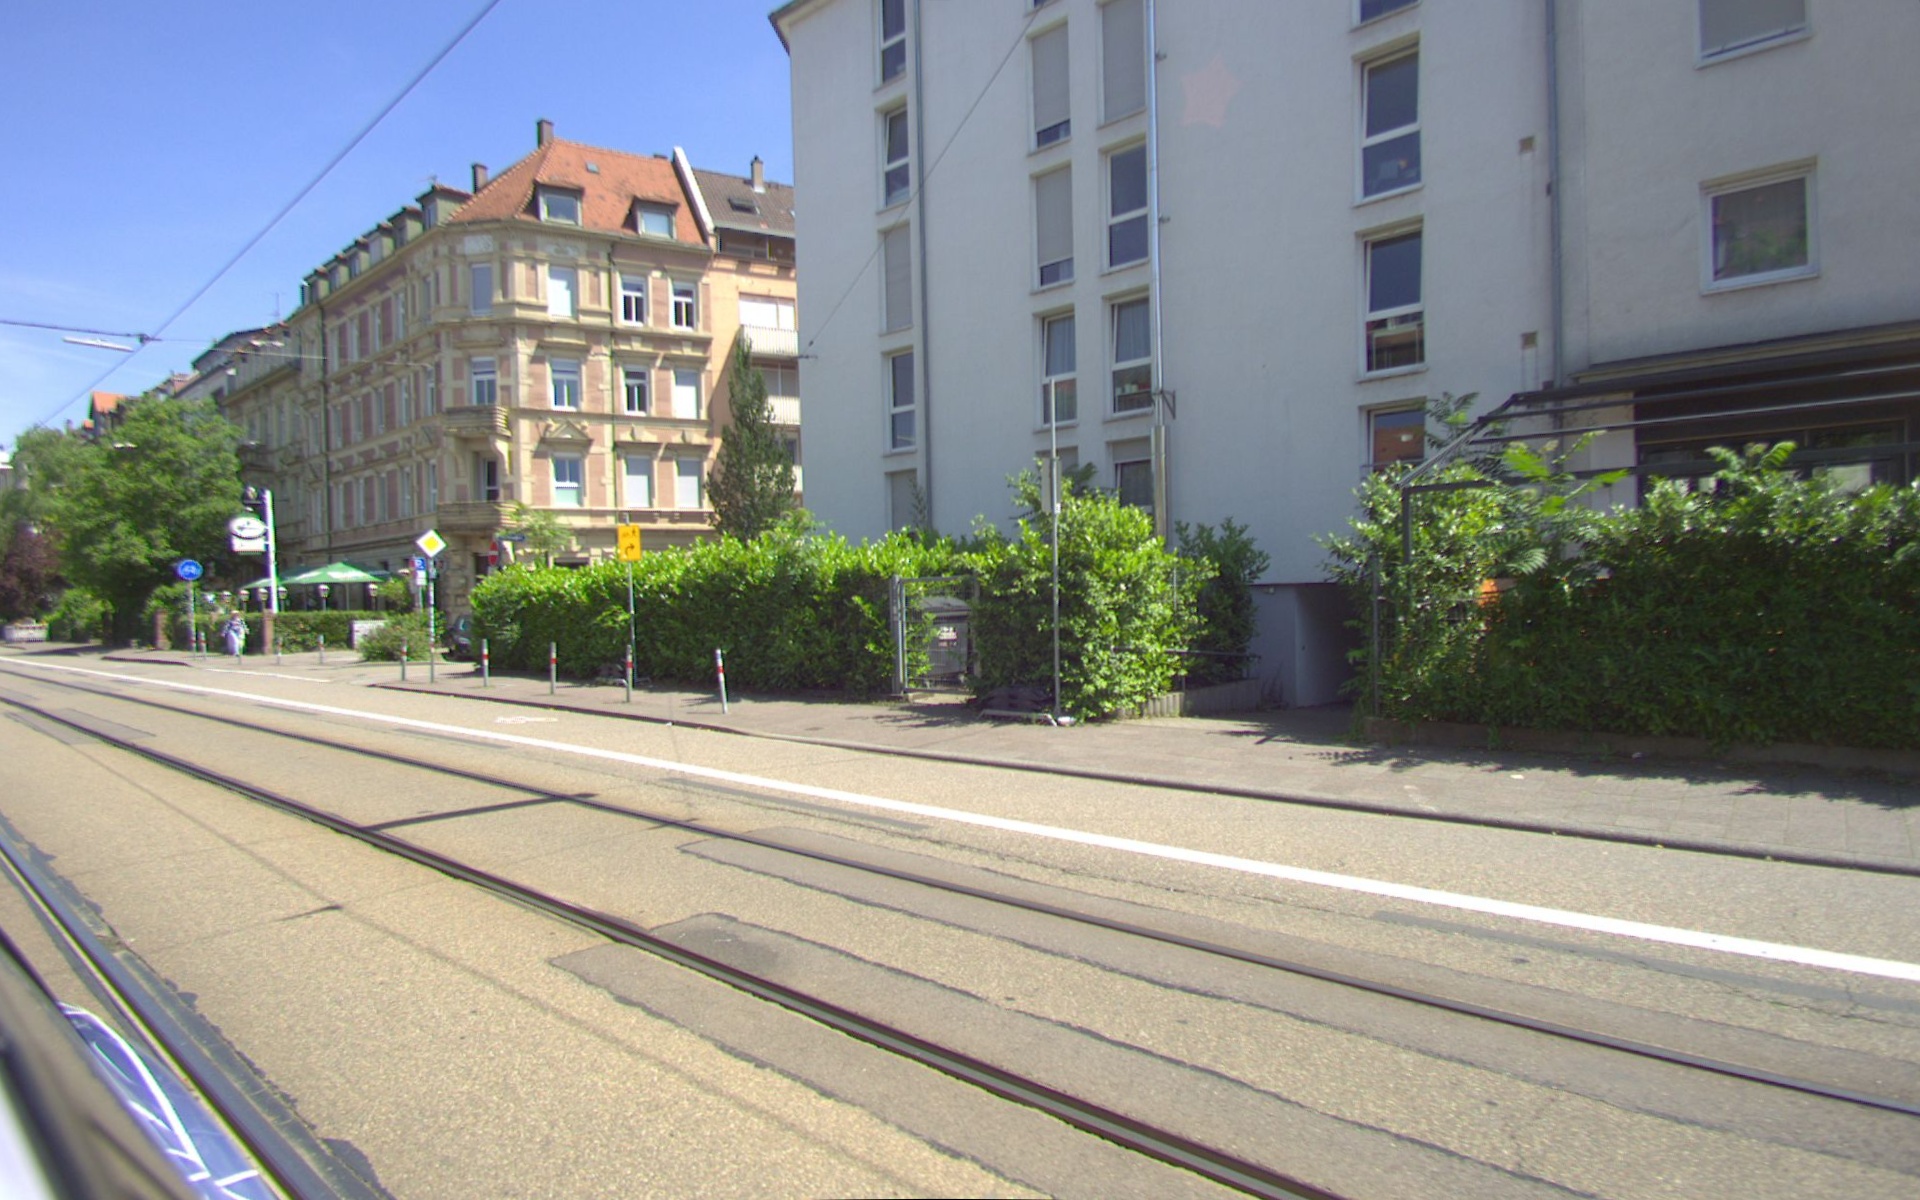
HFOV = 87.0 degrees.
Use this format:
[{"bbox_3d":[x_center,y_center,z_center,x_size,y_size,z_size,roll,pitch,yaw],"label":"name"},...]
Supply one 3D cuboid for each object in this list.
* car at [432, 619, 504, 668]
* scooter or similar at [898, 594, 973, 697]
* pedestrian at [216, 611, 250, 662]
[{"bbox_3d":[-15.882,1.351,32.607,1.568,1.449,3.767,-1,0,-34],"label":"car"},{"bbox_3d":[-0.360,0.659,15.166,0.597,1.462,0.998,-1,1,41],"label":"scooter or similar"},{"bbox_3d":[-24.198,1.193,33.681,0.939,1.654,0.732,-2,0,44],"label":"pedestrian"}]
